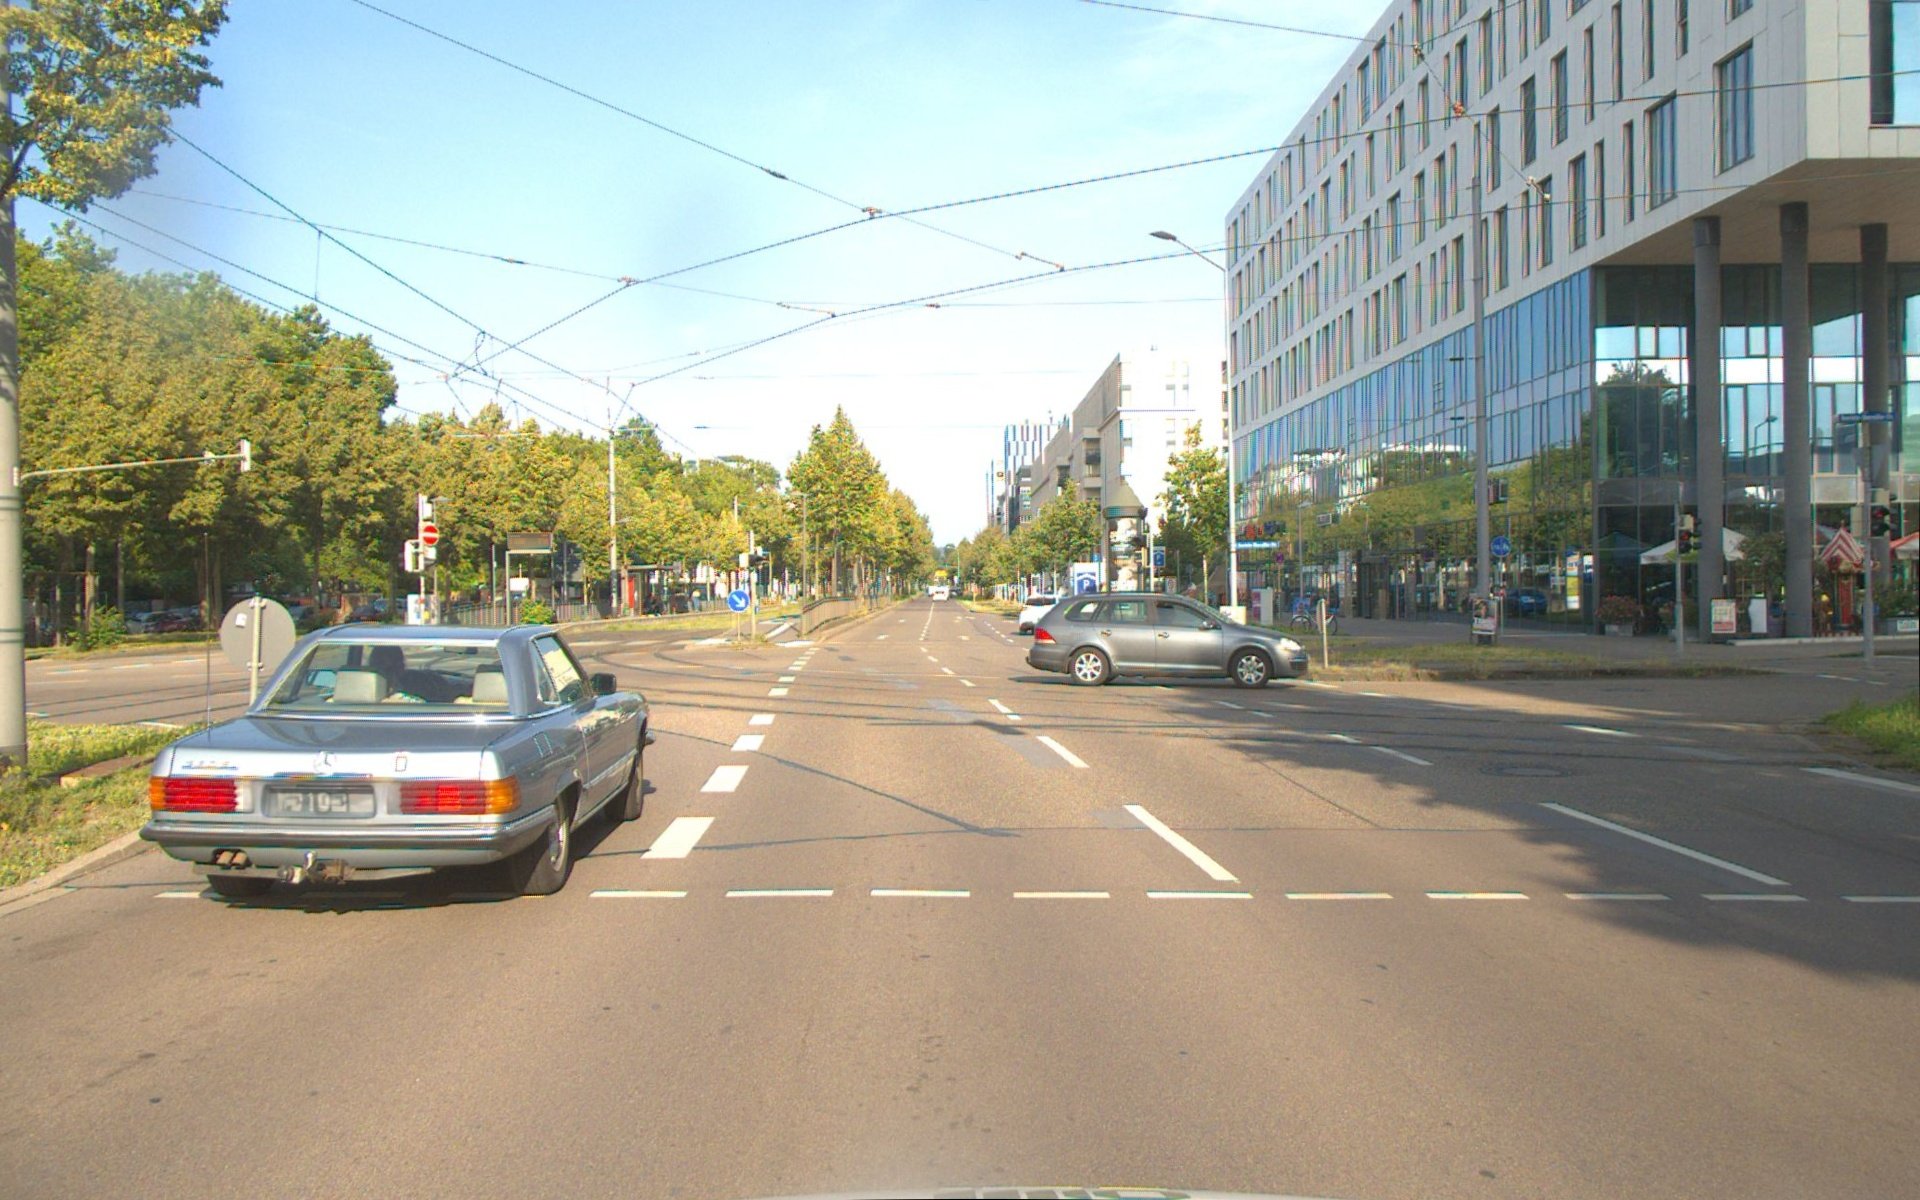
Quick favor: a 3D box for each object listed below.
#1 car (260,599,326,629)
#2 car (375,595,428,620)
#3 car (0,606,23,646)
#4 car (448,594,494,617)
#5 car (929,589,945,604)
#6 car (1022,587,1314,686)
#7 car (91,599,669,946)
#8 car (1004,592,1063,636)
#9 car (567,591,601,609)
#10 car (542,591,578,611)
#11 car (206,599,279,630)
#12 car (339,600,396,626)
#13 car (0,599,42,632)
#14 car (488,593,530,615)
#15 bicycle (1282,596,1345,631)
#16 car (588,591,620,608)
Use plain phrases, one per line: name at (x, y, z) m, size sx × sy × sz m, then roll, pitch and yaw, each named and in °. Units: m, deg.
car at (-37.719, 0.780, 93.578) m, size 1.841 × 1.586 × 4.002 m, roll -1°, pitch 0°, yaw 4°
car at (-36.463, 0.469, 108.131) m, size 1.841 × 1.586 × 4.002 m, roll -1°, pitch 0°, yaw 4°
car at (-39.341, 1.055, 65.588) m, size 1.841 × 1.586 × 4.002 m, roll -1°, pitch 0°, yaw 4°
car at (-35.632, 0.400, 120.624) m, size 1.841 × 1.586 × 4.002 m, roll -1°, pitch 0°, yaw 4°
car at (-2.831, -0.436, 205.033) m, size 1.826 × 1.713 × 4.000 m, roll 1°, pitch 1°, yaw 0°
car at (3.365, 0.553, 26.528) m, size 4.462 × 1.487 × 1.736 m, roll 0°, pitch 0°, yaw 14°
car at (-2.758, 0.703, 8.983) m, size 1.728 × 1.353 × 4.398 m, roll 0°, pitch 1°, yaw -2°
car at (2.752, 0.546, 62.750) m, size 1.953 × 1.530 × 4.091 m, roll -2°, pitch -1°, yaw -1°
car at (-33.868, 0.006, 148.996) m, size 1.841 × 1.586 × 4.002 m, roll -1°, pitch 0°, yaw 4°
car at (-34.491, 0.082, 142.702) m, size 1.841 × 1.586 × 4.002 m, roll -1°, pitch 0°, yaw 4°
car at (-38.138, 0.764, 88.000) m, size 1.841 × 1.586 × 4.002 m, roll -1°, pitch 0°, yaw 4°
car at (-36.893, 0.792, 103.044) m, size 1.841 × 1.586 × 4.002 m, roll -1°, pitch 0°, yaw 4°
car at (-46.671, 0.761, 80.221) m, size 1.841 × 1.586 × 4.002 m, roll -1°, pitch 0°, yaw 4°
car at (-35.049, 0.298, 128.555) m, size 1.841 × 1.586 × 4.002 m, roll -1°, pitch 0°, yaw 4°
bicycle at (11.351, 0.423, 53.142) m, size 0.768 × 1.050 × 1.848 m, roll -1°, pitch 3°, yaw -44°
car at (-33.426, -0.076, 155.427) m, size 1.841 × 1.586 × 4.002 m, roll -1°, pitch 0°, yaw 4°
